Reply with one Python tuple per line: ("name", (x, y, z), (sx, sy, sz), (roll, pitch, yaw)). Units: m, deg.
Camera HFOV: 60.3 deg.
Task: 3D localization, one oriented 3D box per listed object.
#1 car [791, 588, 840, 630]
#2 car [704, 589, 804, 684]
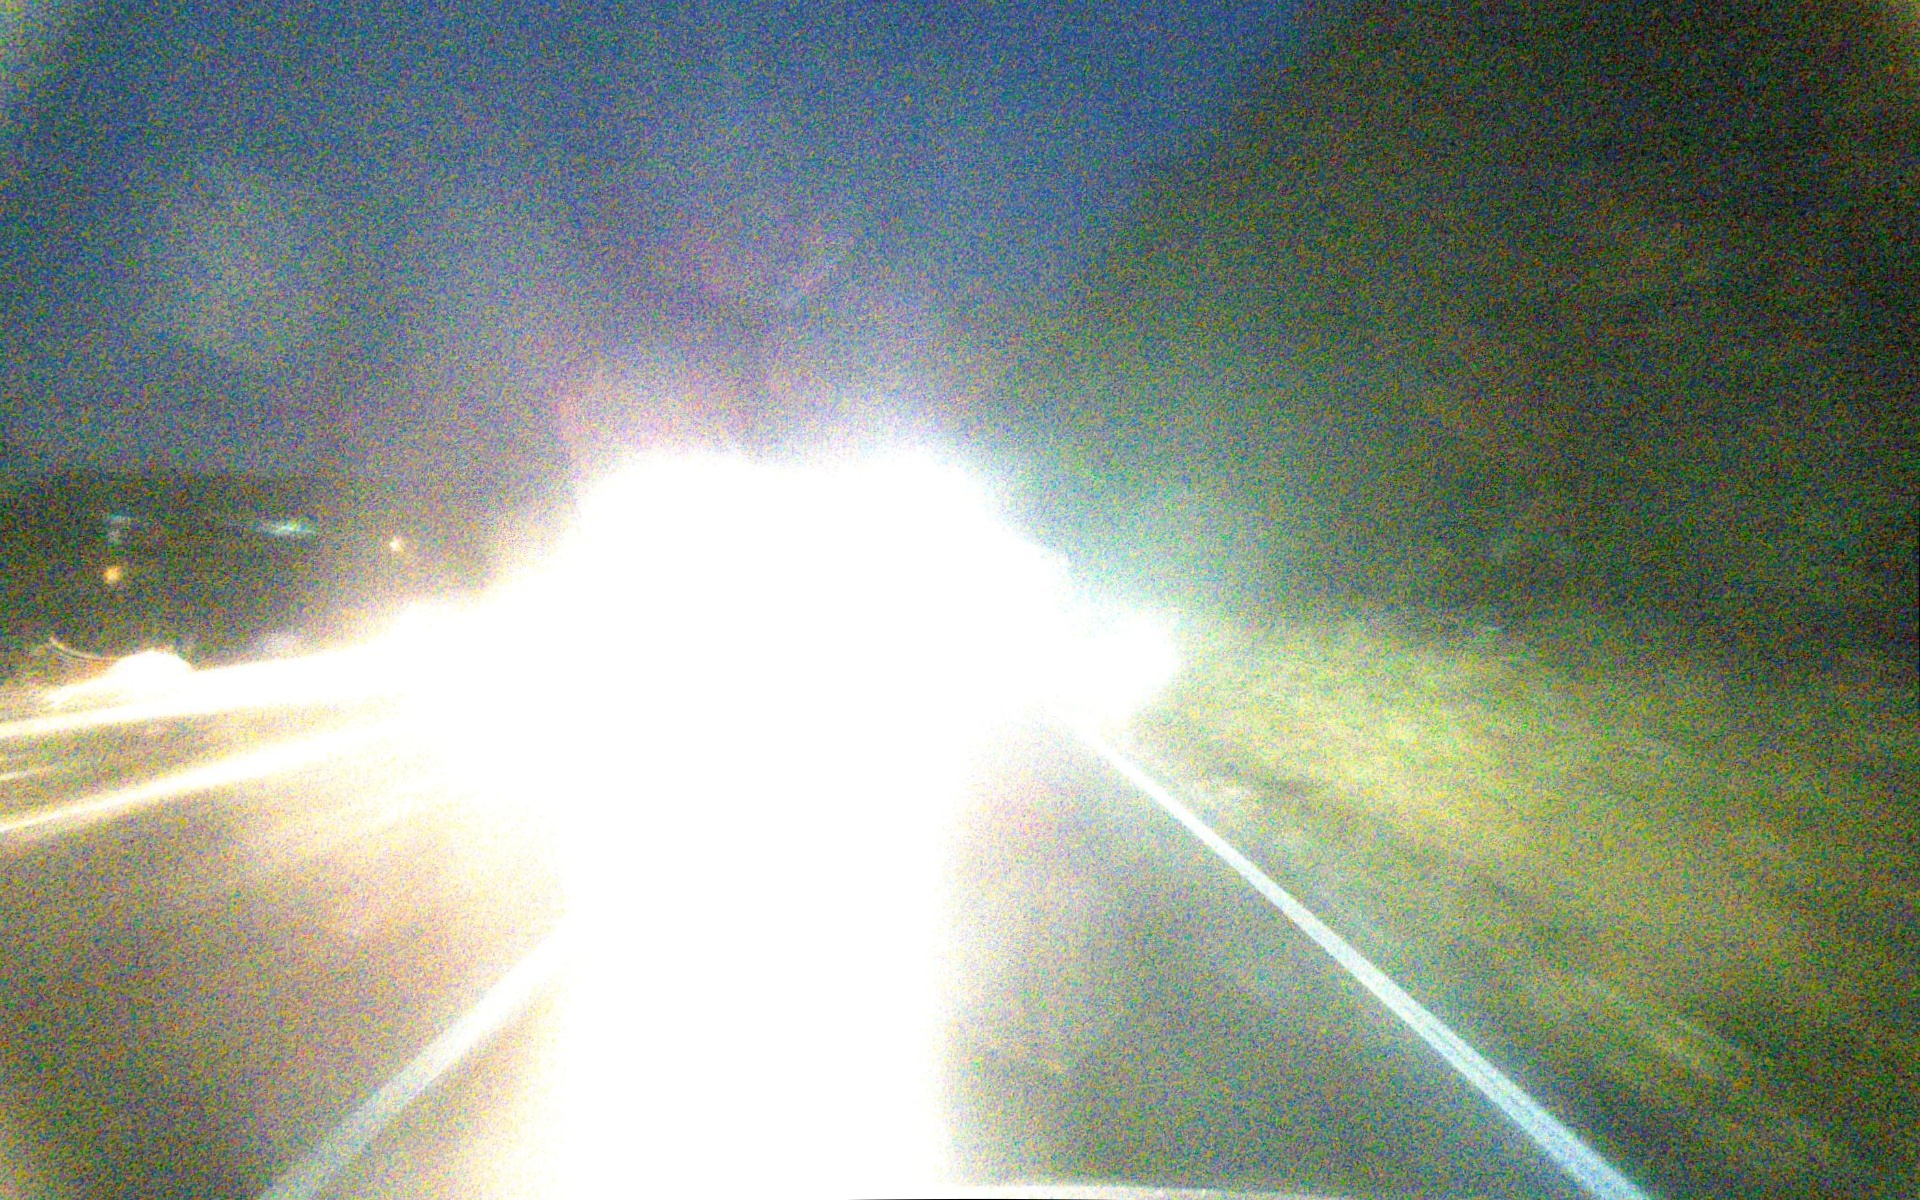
("car", (-6.236, 0.366, 71.768), (1.887, 1.733, 3.998), (1, 0, -2))
("car", (-3.929, 0.661, 32.019), (1.453, 1.644, 3.560), (3, 1, -1))
